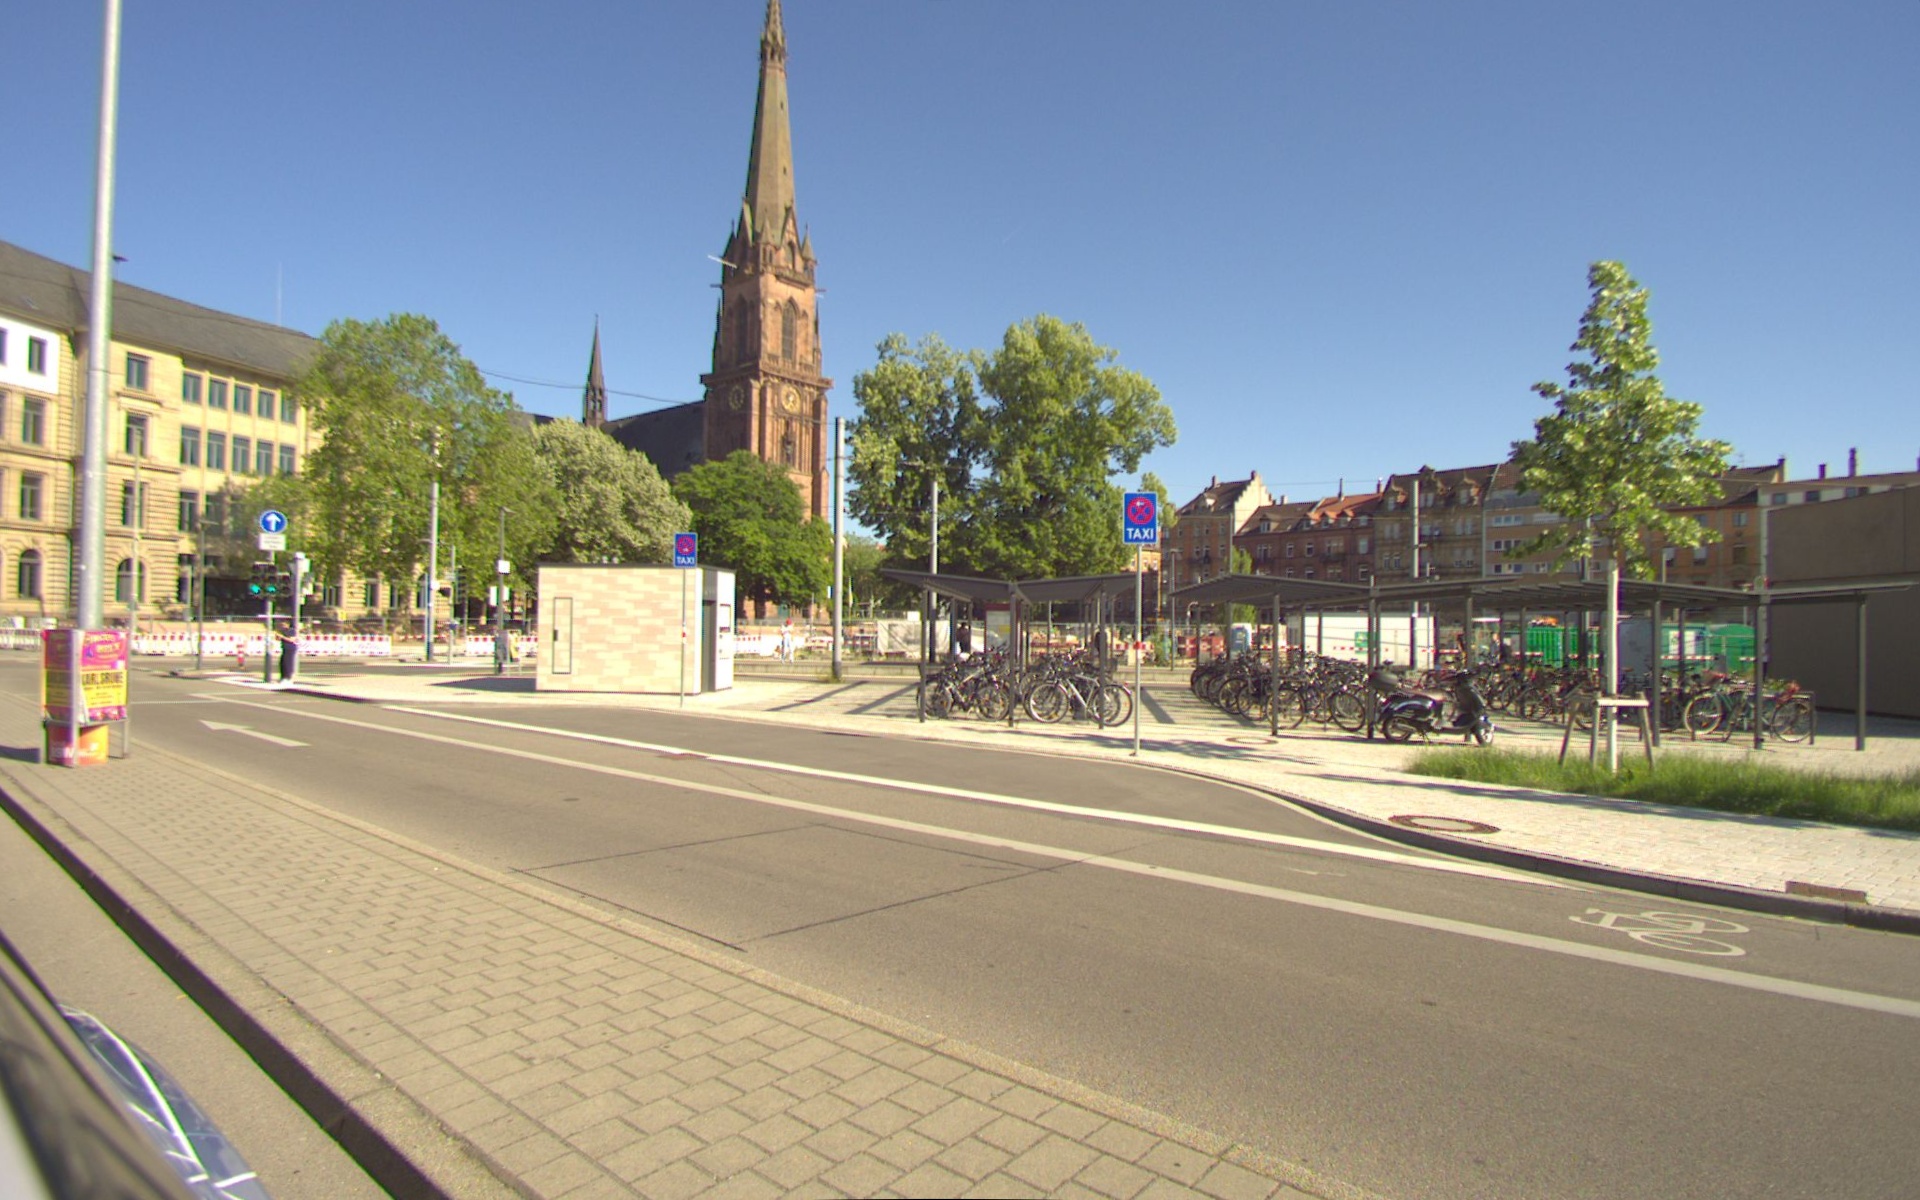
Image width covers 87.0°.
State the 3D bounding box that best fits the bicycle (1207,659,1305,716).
[{"bbox_3d":[5.860,1.730,20.094,1.765,1.046,0.567,1,-3,4],"label":"bicycle"}]

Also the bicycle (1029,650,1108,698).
[{"bbox_3d":[2.513,1.712,23.556,1.765,1.046,0.567,1,-3,4],"label":"bicycle"}]

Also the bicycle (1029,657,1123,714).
[{"bbox_3d":[2.252,1.654,19.775,1.765,1.046,0.567,1,-3,4],"label":"bicycle"}]

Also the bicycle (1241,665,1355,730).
[{"bbox_3d":[5.839,1.675,17.547,1.765,1.046,0.567,1,-3,4],"label":"bicycle"}]

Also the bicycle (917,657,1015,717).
[{"bbox_3d":[0.125,1.603,18.843,1.765,1.046,0.567,1,-3,4],"label":"bicycle"}]

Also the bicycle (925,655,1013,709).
[{"bbox_3d":[0.187,1.671,20.777,1.765,1.046,0.567,1,-3,4],"label":"bicycle"}]

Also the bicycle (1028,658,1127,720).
[{"bbox_3d":[2.139,1.622,18.567,1.765,1.046,0.567,1,-3,4],"label":"bicycle"}]

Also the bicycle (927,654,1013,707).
[{"bbox_3d":[0.215,1.685,21.394,1.765,1.046,0.567,1,-3,4],"label":"bicycle"}]

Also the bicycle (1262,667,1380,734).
[{"bbox_3d":[6.024,1.674,16.950,1.765,1.046,0.567,1,-3,4],"label":"bicycle"}]

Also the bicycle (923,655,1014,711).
[{"bbox_3d":[0.181,1.639,20.161,1.765,1.046,0.567,1,-3,4],"label":"bicycle"}]

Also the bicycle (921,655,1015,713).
[{"bbox_3d":[0.163,1.616,19.531,1.765,1.046,0.567,1,-3,4],"label":"bicycle"}]

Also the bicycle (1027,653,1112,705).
[{"bbox_3d":[2.331,1.674,21.630,1.765,1.046,0.567,1,-3,4],"label":"bicycle"}]

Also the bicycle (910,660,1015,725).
[{"bbox_3d":[0.053,1.575,17.437,1.765,1.046,0.567,1,-3,4],"label":"bicycle"}]

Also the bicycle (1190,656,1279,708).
[{"bbox_3d":[5.924,1.771,21.902,1.765,1.046,0.567,1,-3,4],"label":"bicycle"}]

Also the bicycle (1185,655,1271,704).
[{"bbox_3d":[6.019,1.777,22.772,1.765,1.046,0.567,1,-3,4],"label":"bicycle"}]

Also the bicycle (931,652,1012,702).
[{"bbox_3d":[0.259,1.709,22.655,1.765,1.046,0.567,1,-3,4],"label":"bicycle"}]

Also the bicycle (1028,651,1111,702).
[{"bbox_3d":[2.394,1.674,22.230,1.765,1.046,0.567,1,-3,4],"label":"bicycle"}]

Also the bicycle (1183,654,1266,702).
[{"bbox_3d":[6.128,1.794,23.496,1.765,1.046,0.567,1,-3,4],"label":"bicycle"}]

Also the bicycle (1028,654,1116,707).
[{"bbox_3d":[2.303,1.658,20.992,1.765,1.046,0.567,1,-3,4],"label":"bicycle"}]

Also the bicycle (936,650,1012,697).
[{"bbox_3d":[0.337,1.730,23.848,1.765,1.046,0.567,1,-3,4],"label":"bicycle"}]

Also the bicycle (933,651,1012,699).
[{"bbox_3d":[0.291,1.720,23.257,1.765,1.046,0.567,1,-3,4],"label":"bicycle"}]

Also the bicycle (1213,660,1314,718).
[{"bbox_3d":[5.808,1.692,19.422,1.765,1.046,0.567,1,-3,4],"label":"bicycle"}]

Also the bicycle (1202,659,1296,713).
[{"bbox_3d":[5.899,1.748,20.709,1.765,1.046,0.567,1,-3,4],"label":"bicycle"}]

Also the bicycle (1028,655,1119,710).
[{"bbox_3d":[2.271,1.656,20.390,1.765,1.046,0.567,1,-3,4],"label":"bicycle"}]

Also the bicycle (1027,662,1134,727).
[{"bbox_3d":[2.042,1.601,17.276,1.765,1.046,0.567,1,-3,4],"label":"bicycle"}]

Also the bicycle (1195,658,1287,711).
[{"bbox_3d":[5.906,1.768,21.307,1.765,1.046,0.567,1,-3,4],"label":"bicycle"}]

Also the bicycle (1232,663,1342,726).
[{"bbox_3d":[5.839,1.676,18.133,1.765,1.046,0.567,1,-3,4],"label":"bicycle"}]

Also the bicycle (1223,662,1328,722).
[{"bbox_3d":[5.842,1.693,18.792,1.765,1.046,0.567,1,-3,4],"label":"bicycle"}]

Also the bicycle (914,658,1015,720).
[{"bbox_3d":[0.090,1.581,18.088,1.765,1.046,0.567,1,-3,4],"label":"bicycle"}]

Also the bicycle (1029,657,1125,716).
[{"bbox_3d":[2.203,1.635,19.176,1.765,1.046,0.567,1,-3,4],"label":"bicycle"}]

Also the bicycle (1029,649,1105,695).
[{"bbox_3d":[2.537,1.719,24.182,1.765,1.046,0.567,1,-3,4],"label":"bicycle"}]

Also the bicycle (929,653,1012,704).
[{"bbox_3d":[0.236,1.699,22.059,1.765,1.046,0.567,1,-3,4],"label":"bicycle"}]

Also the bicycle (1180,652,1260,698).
[{"bbox_3d":[6.227,1.793,24.261,1.765,1.046,0.567,1,-3,4],"label":"bicycle"}]

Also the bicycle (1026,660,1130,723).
[{"bbox_3d":[2.072,1.605,17.926,1.765,1.046,0.567,1,-3,4],"label":"bicycle"}]
